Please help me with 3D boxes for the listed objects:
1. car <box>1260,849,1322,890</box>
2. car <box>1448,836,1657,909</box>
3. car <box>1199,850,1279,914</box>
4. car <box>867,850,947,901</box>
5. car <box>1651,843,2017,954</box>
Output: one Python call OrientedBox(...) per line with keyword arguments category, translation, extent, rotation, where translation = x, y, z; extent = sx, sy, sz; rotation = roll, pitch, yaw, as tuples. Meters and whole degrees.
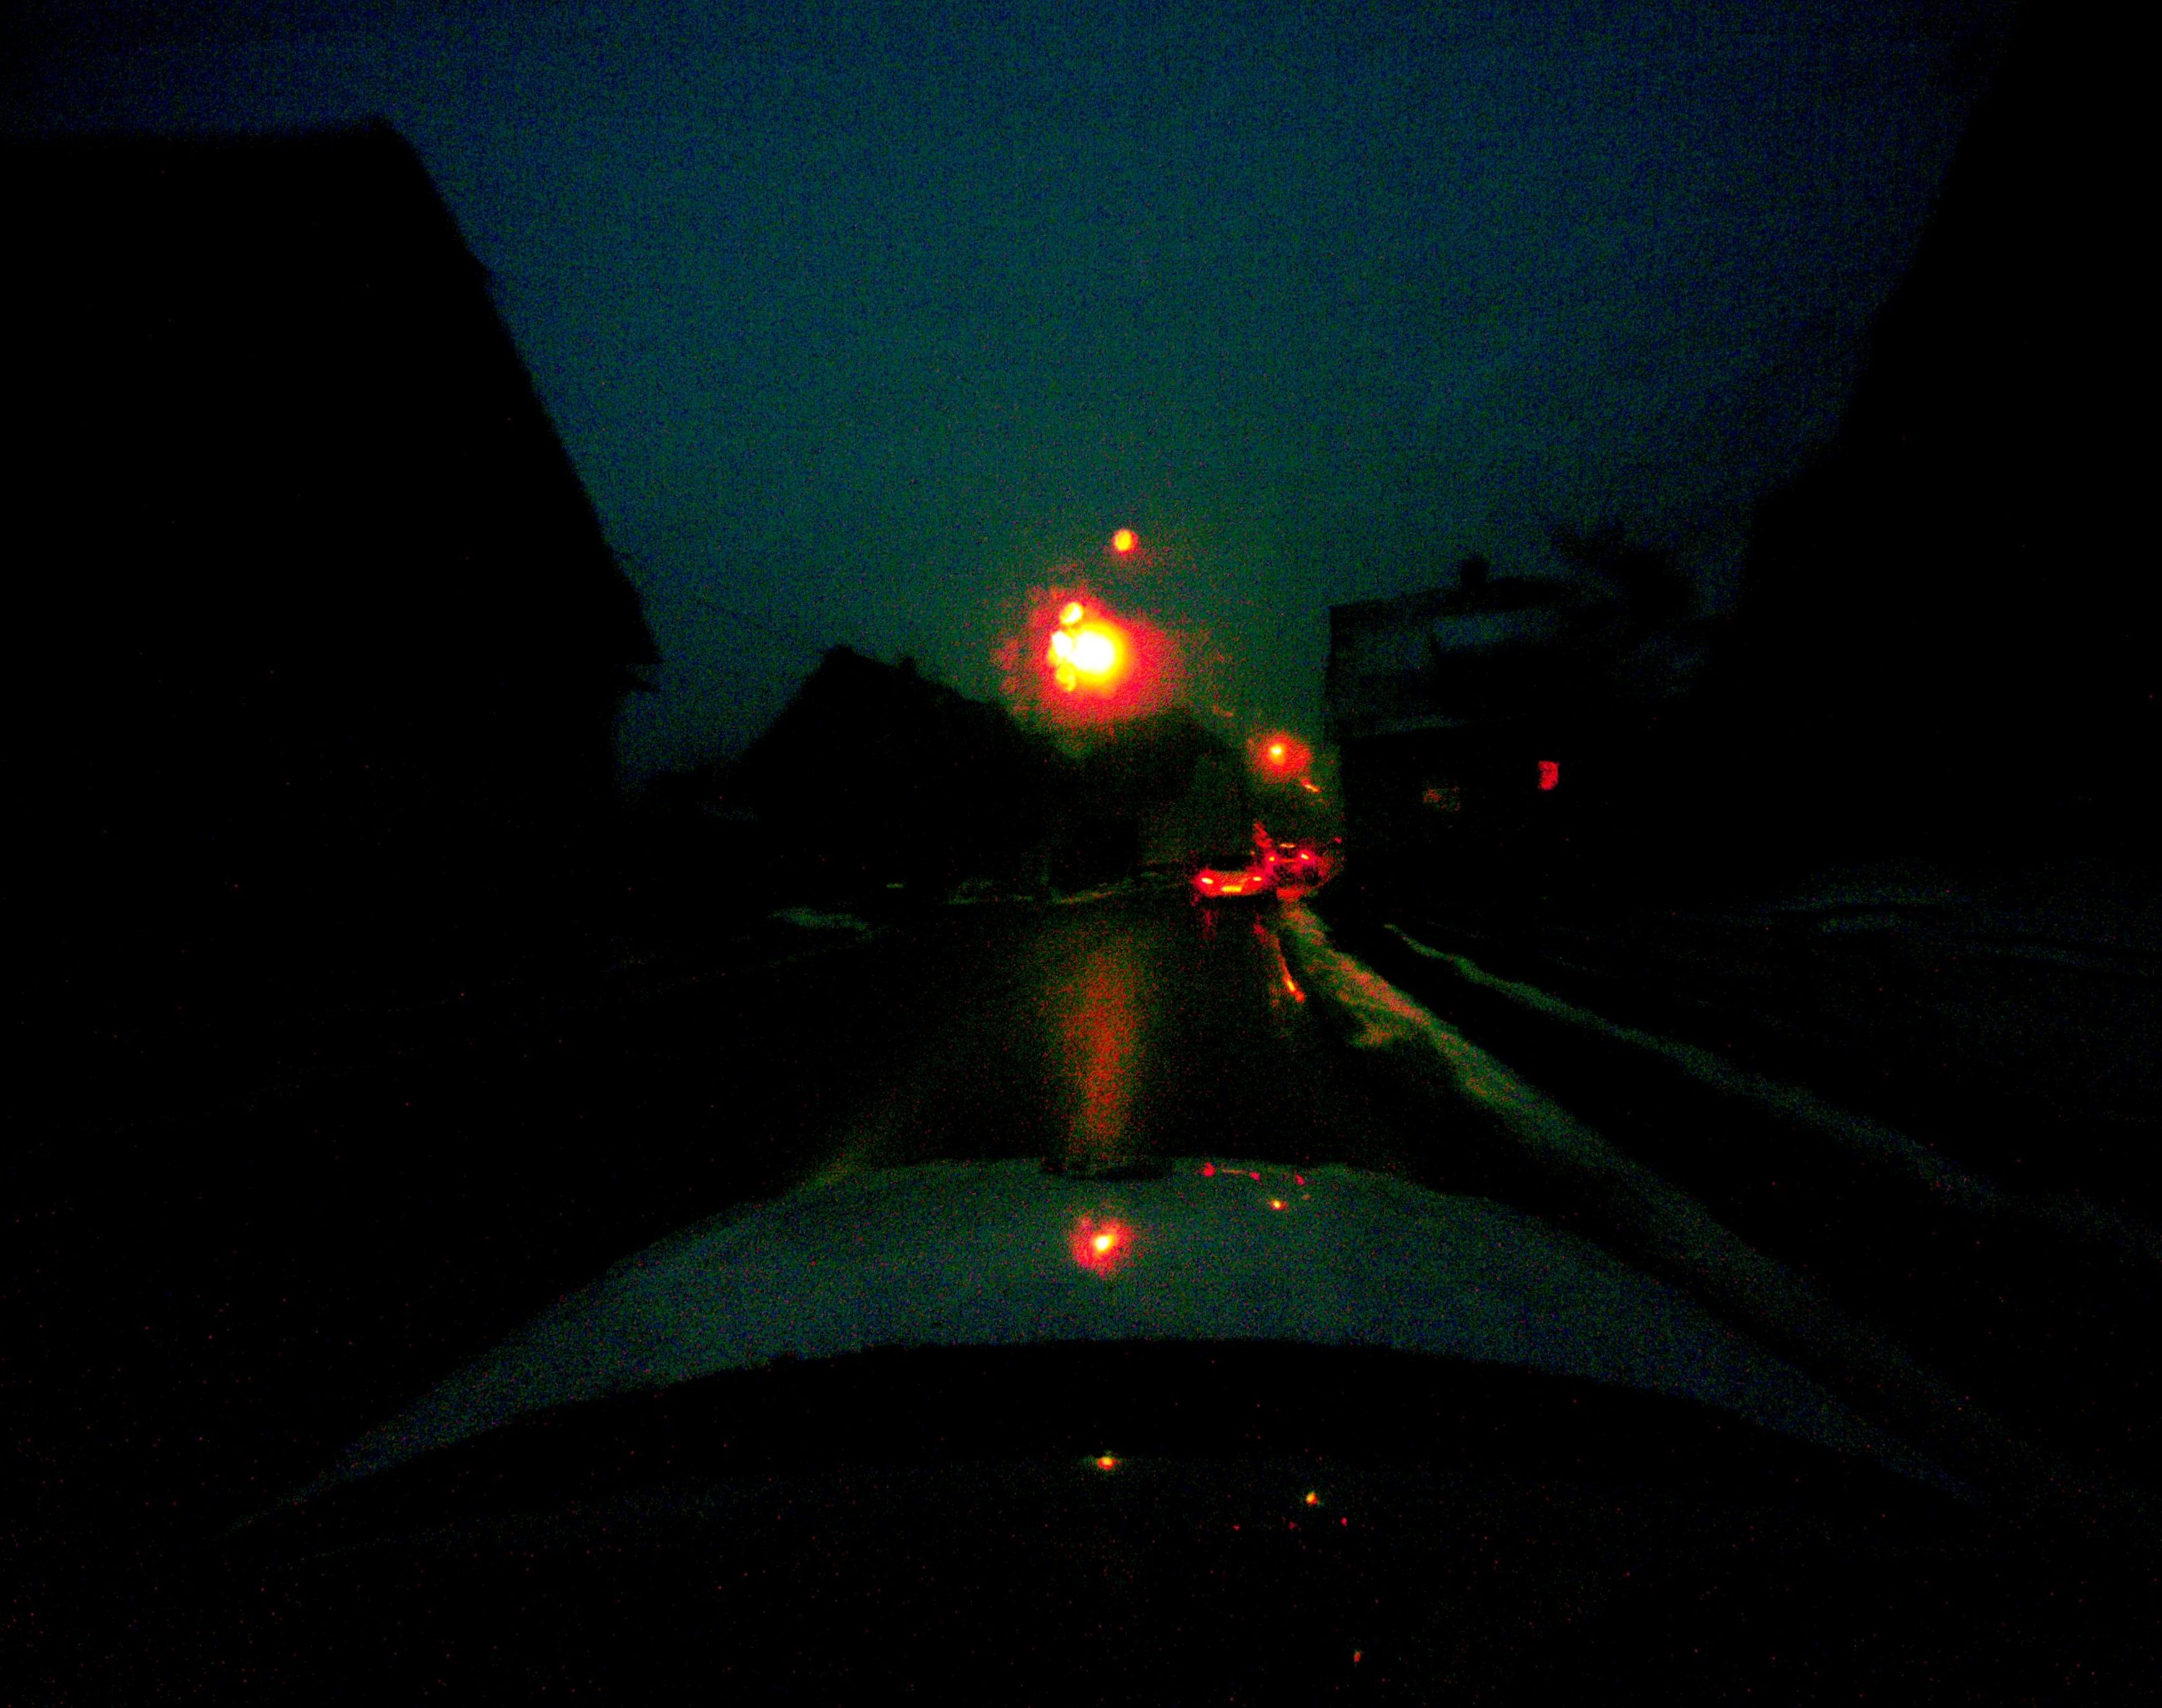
OrientedBox(category="car", translation=(8.810, 0.626, 33.947), extent=(1.630, 1.596, 3.722), rotation=(-2, -1, 28))
OrientedBox(category="car", translation=(10.958, 0.422, 19.251), extent=(3.955, 1.596, 1.920), rotation=(0, 0, 17))
OrientedBox(category="car", translation=(4.487, 0.737, 22.736), extent=(1.632, 1.596, 3.717), rotation=(-2, -1, 19))
OrientedBox(category="car", translation=(-5.587, 0.691, 26.621), extent=(1.869, 1.504, 3.996), rotation=(-1, -1, -2))
OrientedBox(category="car", translation=(11.500, 0.558, 12.685), extent=(1.766, 1.373, 3.955), rotation=(0, 2, -38))
